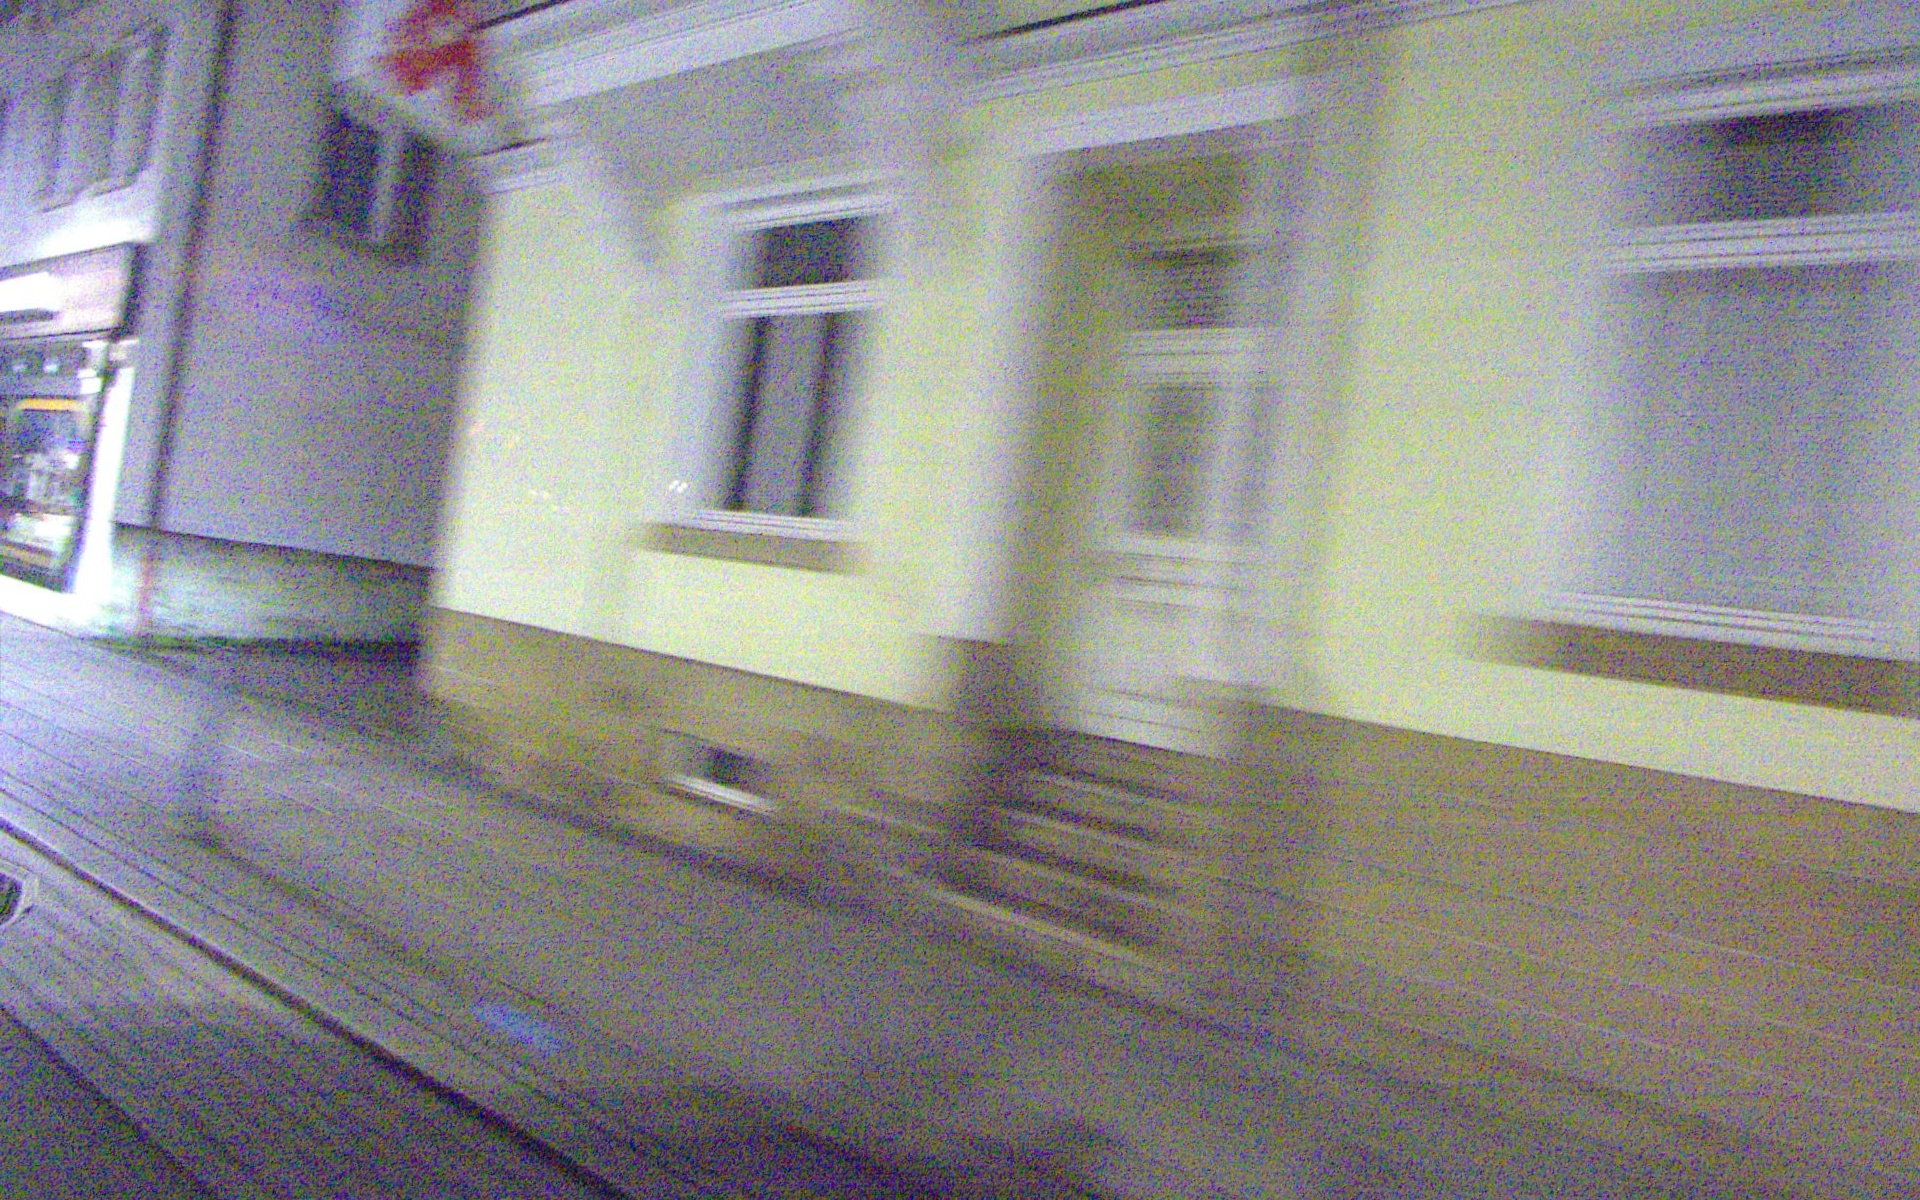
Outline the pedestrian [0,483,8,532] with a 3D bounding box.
[{"bbox_3d":[-12.728,-0.770,12.909,0.473,1.565,0.501,7,-2,38],"label":"pedestrian"}]
